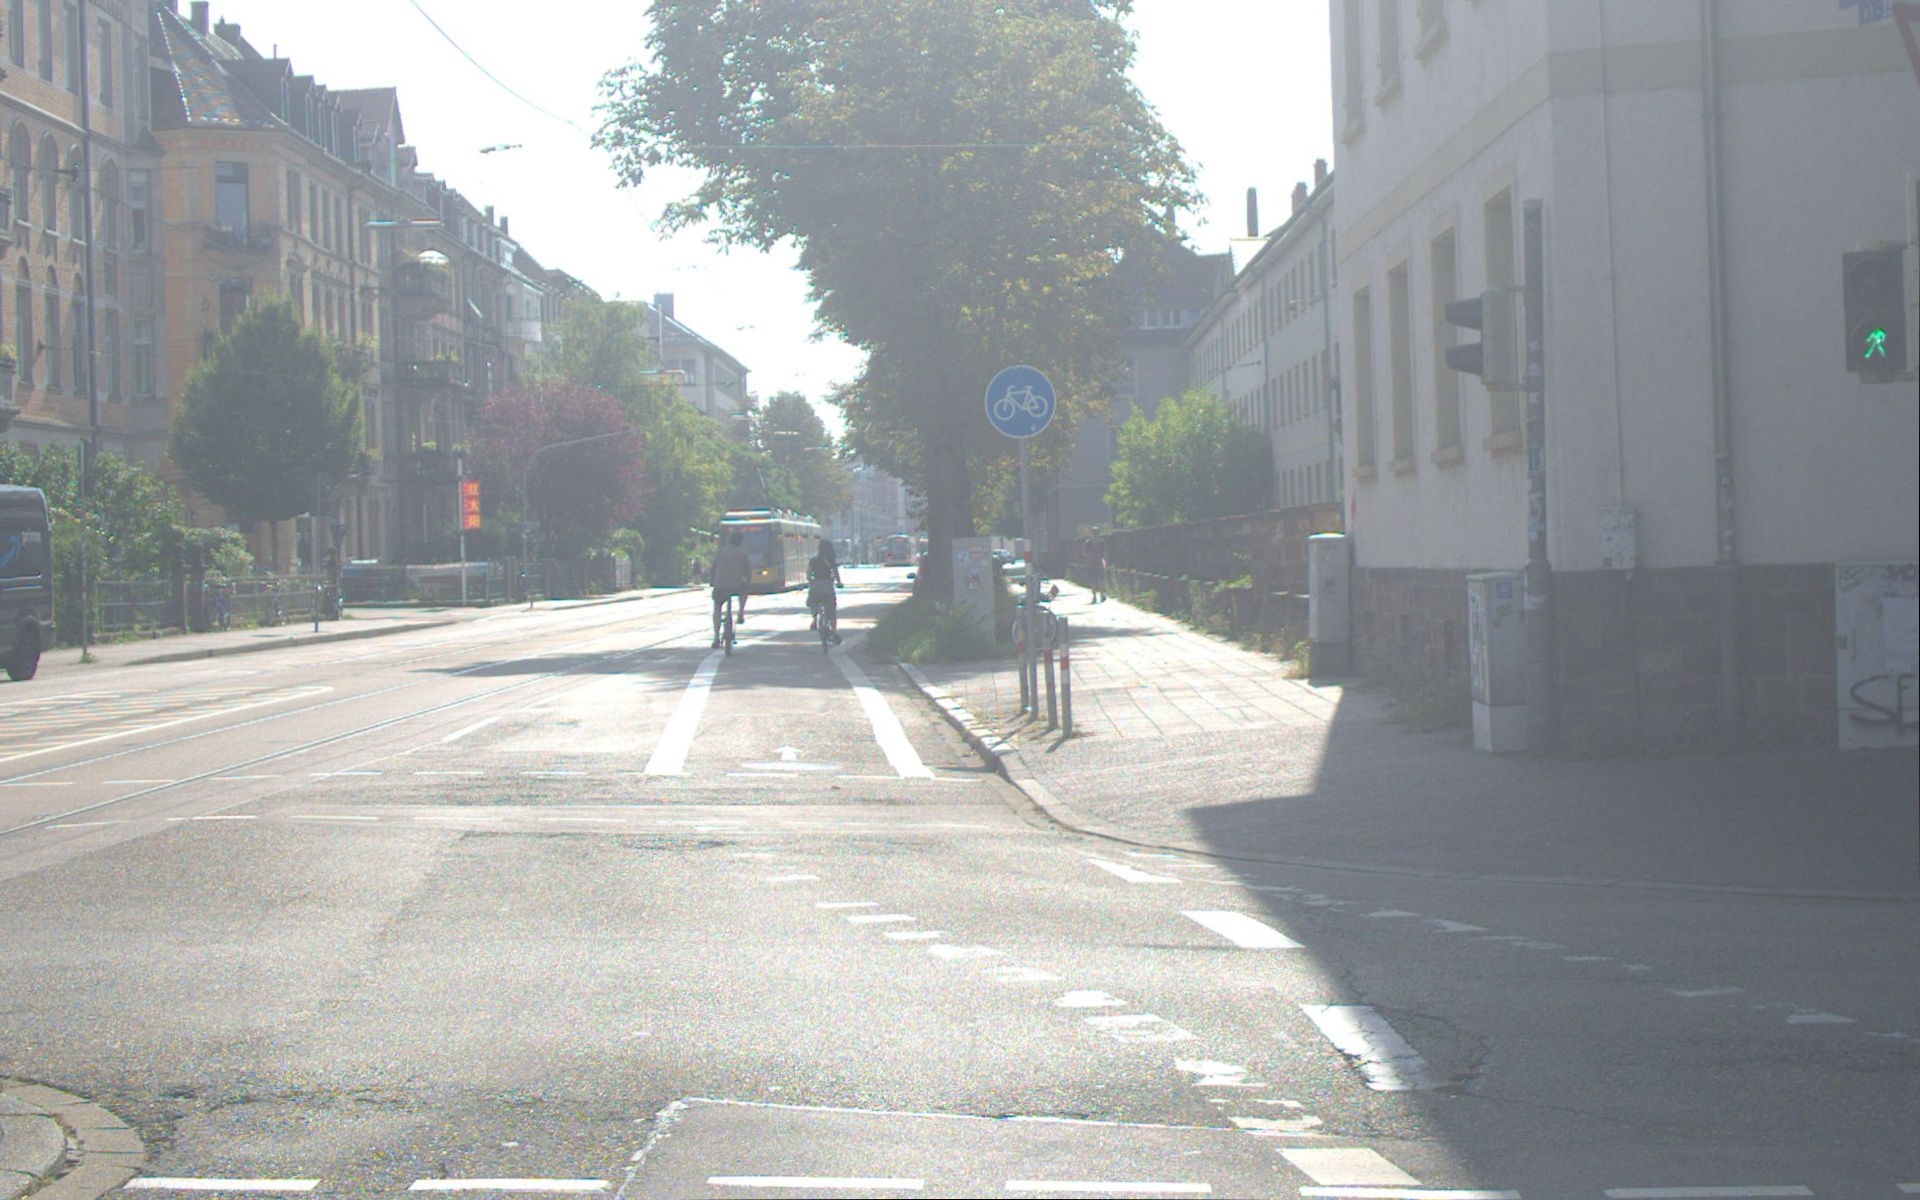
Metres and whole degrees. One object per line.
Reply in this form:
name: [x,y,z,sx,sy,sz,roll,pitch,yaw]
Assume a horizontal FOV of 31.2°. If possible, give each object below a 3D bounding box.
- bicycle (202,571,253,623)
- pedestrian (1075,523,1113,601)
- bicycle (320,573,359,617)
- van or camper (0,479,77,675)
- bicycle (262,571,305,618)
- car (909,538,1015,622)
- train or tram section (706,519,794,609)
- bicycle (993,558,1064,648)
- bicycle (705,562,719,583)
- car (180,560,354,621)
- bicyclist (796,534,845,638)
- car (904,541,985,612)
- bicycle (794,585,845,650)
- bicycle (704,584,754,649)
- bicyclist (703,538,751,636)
bicycle: [-15.699,-0.069,73.702,0.606,1.054,1.839,2,1,2]
pedestrian: [3.062,-0.868,78.504,0.752,1.743,0.878,-1,1,7]
bicycle: [-15.640,-0.138,86.663,0.545,1.054,1.839,2,1,2]
van or camper: [-13.978,-0.269,45.903,2.051,2.635,6.088,-2,0,7]
bicycle: [-15.665,-0.138,79.636,0.545,1.054,1.839,2,1,2]
car: [0.060,-0.412,68.503,1.645,1.535,3.841,-3,1,6]
train or tram section: [-8.636,-1.542,142.995,2.734,3.493,15.434,-1,1,0]
bicycle: [0.882,0.022,44.755,0.771,1.100,2.334,-2,1,-2]
bicycle: [-14.622,-1.606,203.008,0.561,1.217,2.113,-2,1,2]
car: [-18.158,-0.238,90.152,4.137,1.538,2.064,-1,0,0]
bicyclist: [-1.995,-0.199,49.162,0.654,1.469,0.909,0,0,0]
car: [-0.324,-0.524,76.293,1.645,1.443,4.246,-3,1,1]
bicycle: [-2.006,0.241,49.181,0.654,0.906,1.775,0,1,0]
bicycle: [-3.314,0.224,49.439,0.626,0.906,1.525,0,1,0]
bicyclist: [-3.349,-0.191,49.441,0.626,1.396,0.929,0,0,0]
